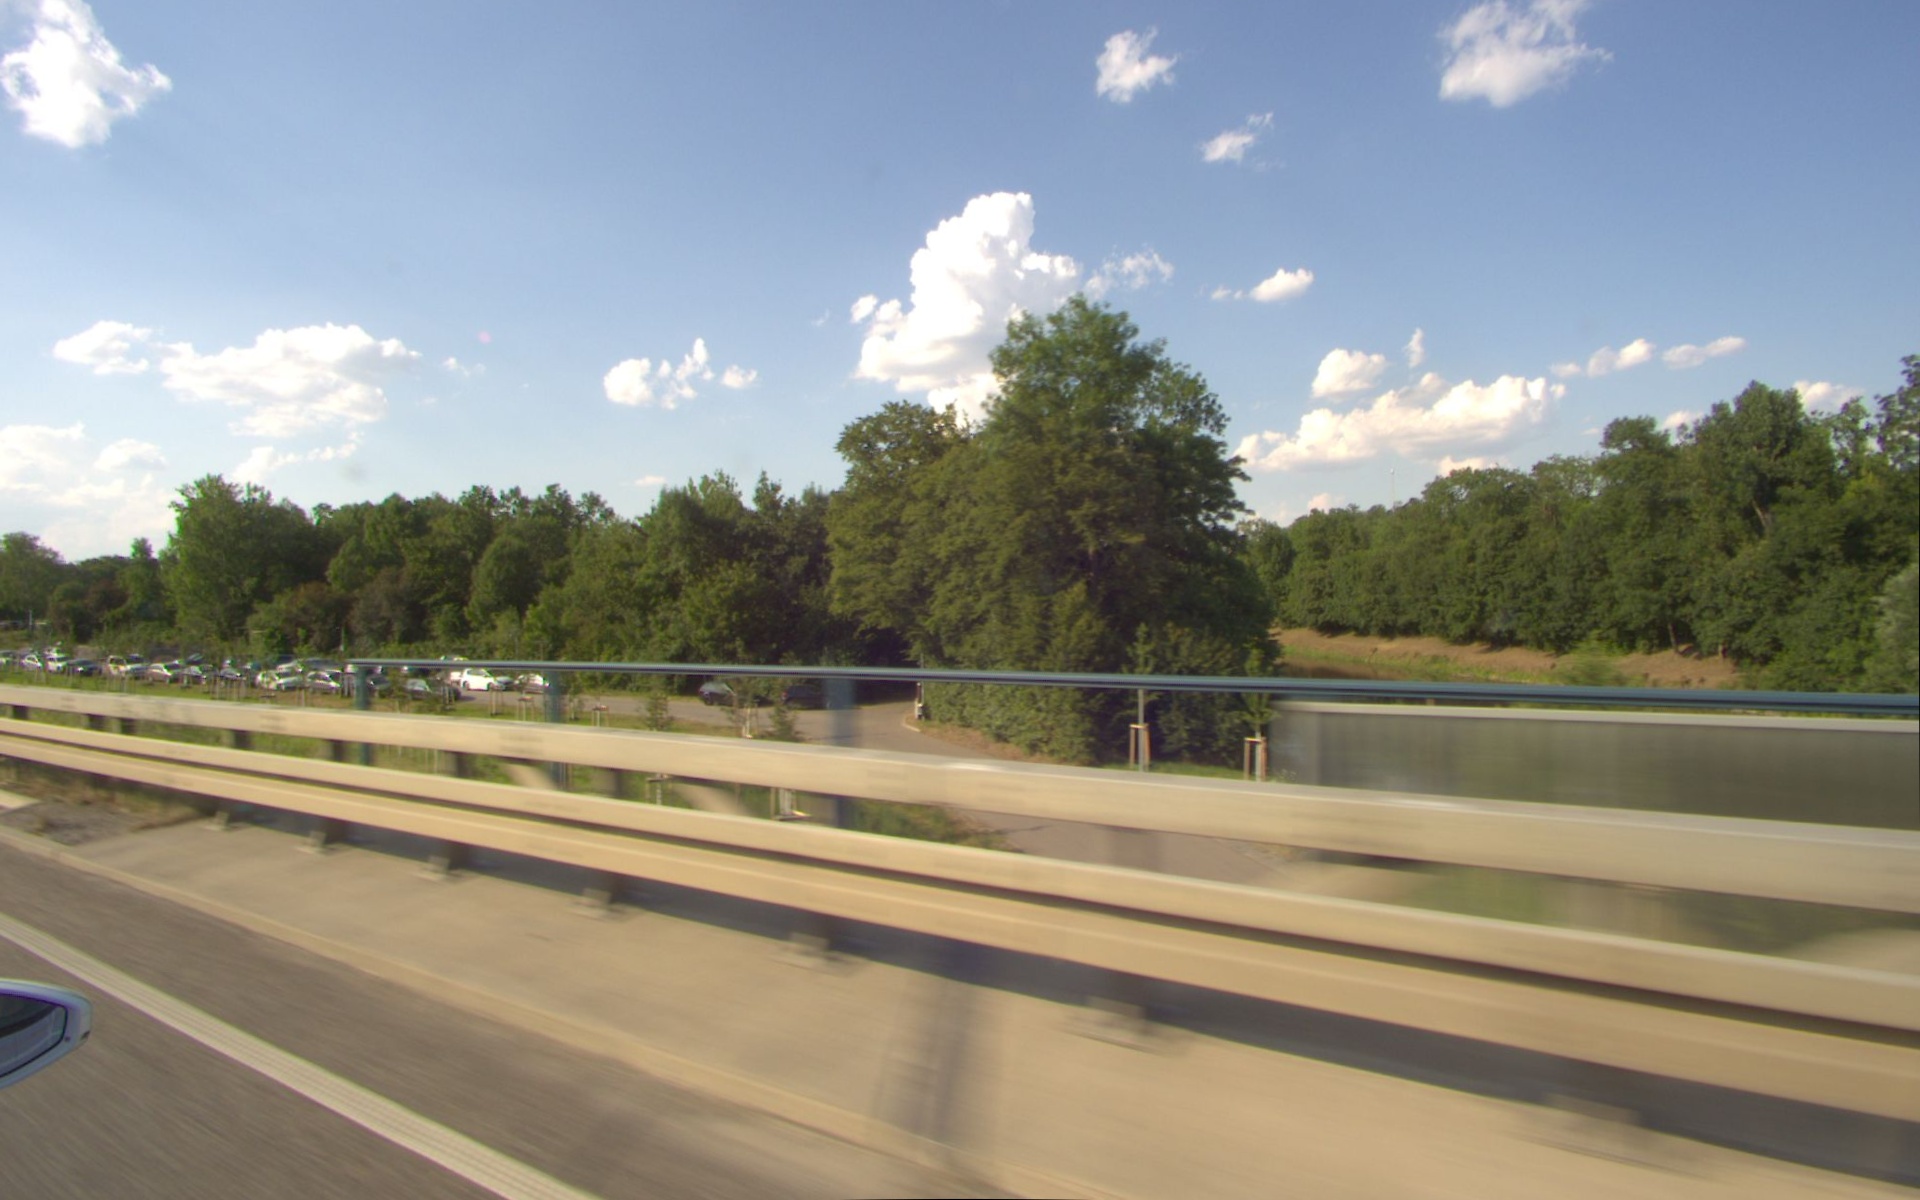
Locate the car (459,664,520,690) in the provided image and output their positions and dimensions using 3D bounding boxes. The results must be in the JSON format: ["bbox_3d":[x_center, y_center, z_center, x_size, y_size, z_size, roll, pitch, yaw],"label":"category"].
[{"bbox_3d":[-34.869,5.677,74.132,4.636,1.688,1.653,-1,0,29],"label":"car"}]

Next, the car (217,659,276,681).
[{"bbox_3d":[-56.729,5.543,79.583,4.321,1.503,1.817,1,2,24],"label":"car"}]

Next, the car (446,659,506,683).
[{"bbox_3d":[-38.543,5.637,79.875,1.592,1.476,4.229,1,1,27],"label":"car"}]

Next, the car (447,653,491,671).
[{"bbox_3d":[-45.454,5.707,92.667,3.608,1.476,1.496,1,1,17],"label":"car"}]

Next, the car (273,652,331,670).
[{"bbox_3d":[-60.998,5.643,92.939,1.742,1.517,4.237,1,-1,22],"label":"car"}]

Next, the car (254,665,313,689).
[{"bbox_3d":[-52.359,5.919,77.522,4.185,1.503,1.817,1,2,24],"label":"car"}]

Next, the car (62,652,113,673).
[{"bbox_3d":[-80.265,5.739,92.127,4.707,1.503,1.889,1,4,28],"label":"car"}]

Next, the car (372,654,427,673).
[{"bbox_3d":[-50.159,5.658,89.683,1.589,1.475,4.237,1,0,21],"label":"car"}]

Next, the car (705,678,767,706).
[{"bbox_3d":[-13.964,5.704,62.397,3.778,1.516,1.650,-1,0,35],"label":"car"}]

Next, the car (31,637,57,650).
[{"bbox_3d":[-115.236,5.467,125.992,1.683,1.418,4.753,-3,2,-34],"label":"car"}]

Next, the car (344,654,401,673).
[{"bbox_3d":[-53.130,5.707,90.665,1.703,1.475,4.409,1,0,18],"label":"car"}]

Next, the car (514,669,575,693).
[{"bbox_3d":[-29.567,5.745,71.231,4.155,1.516,1.654,-1,0,26],"label":"car"}]

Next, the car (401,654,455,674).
[{"bbox_3d":[-47.236,5.700,89.002,1.589,1.475,4.236,1,1,21],"label":"car"}]

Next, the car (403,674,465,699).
[{"bbox_3d":[-36.251,5.962,68.979,4.155,1.516,1.654,-1,0,26],"label":"car"}]

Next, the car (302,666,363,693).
[{"bbox_3d":[-46.780,5.889,74.654,4.185,1.681,1.817,1,2,24],"label":"car"}]

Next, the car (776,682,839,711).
[{"bbox_3d":[-9.248,5.816,60.680,3.617,1.516,1.658,-1,0,-14],"label":"car"}]

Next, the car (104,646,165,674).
[{"bbox_3d":[-72.588,5.218,88.039,5.294,2.046,2.116,1,4,28],"label":"car"}]

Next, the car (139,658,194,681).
[{"bbox_3d":[-67.167,5.862,84.734,4.707,1.503,1.889,1,4,28],"label":"car"}]

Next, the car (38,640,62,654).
[{"bbox_3d":[-107.954,5.527,118.762,4.733,1.418,1.691,0,2,43],"label":"car"}]

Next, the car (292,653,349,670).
[{"bbox_3d":[-58.565,5.618,91.770,1.589,1.474,4.238,0,-1,21],"label":"car"}]
